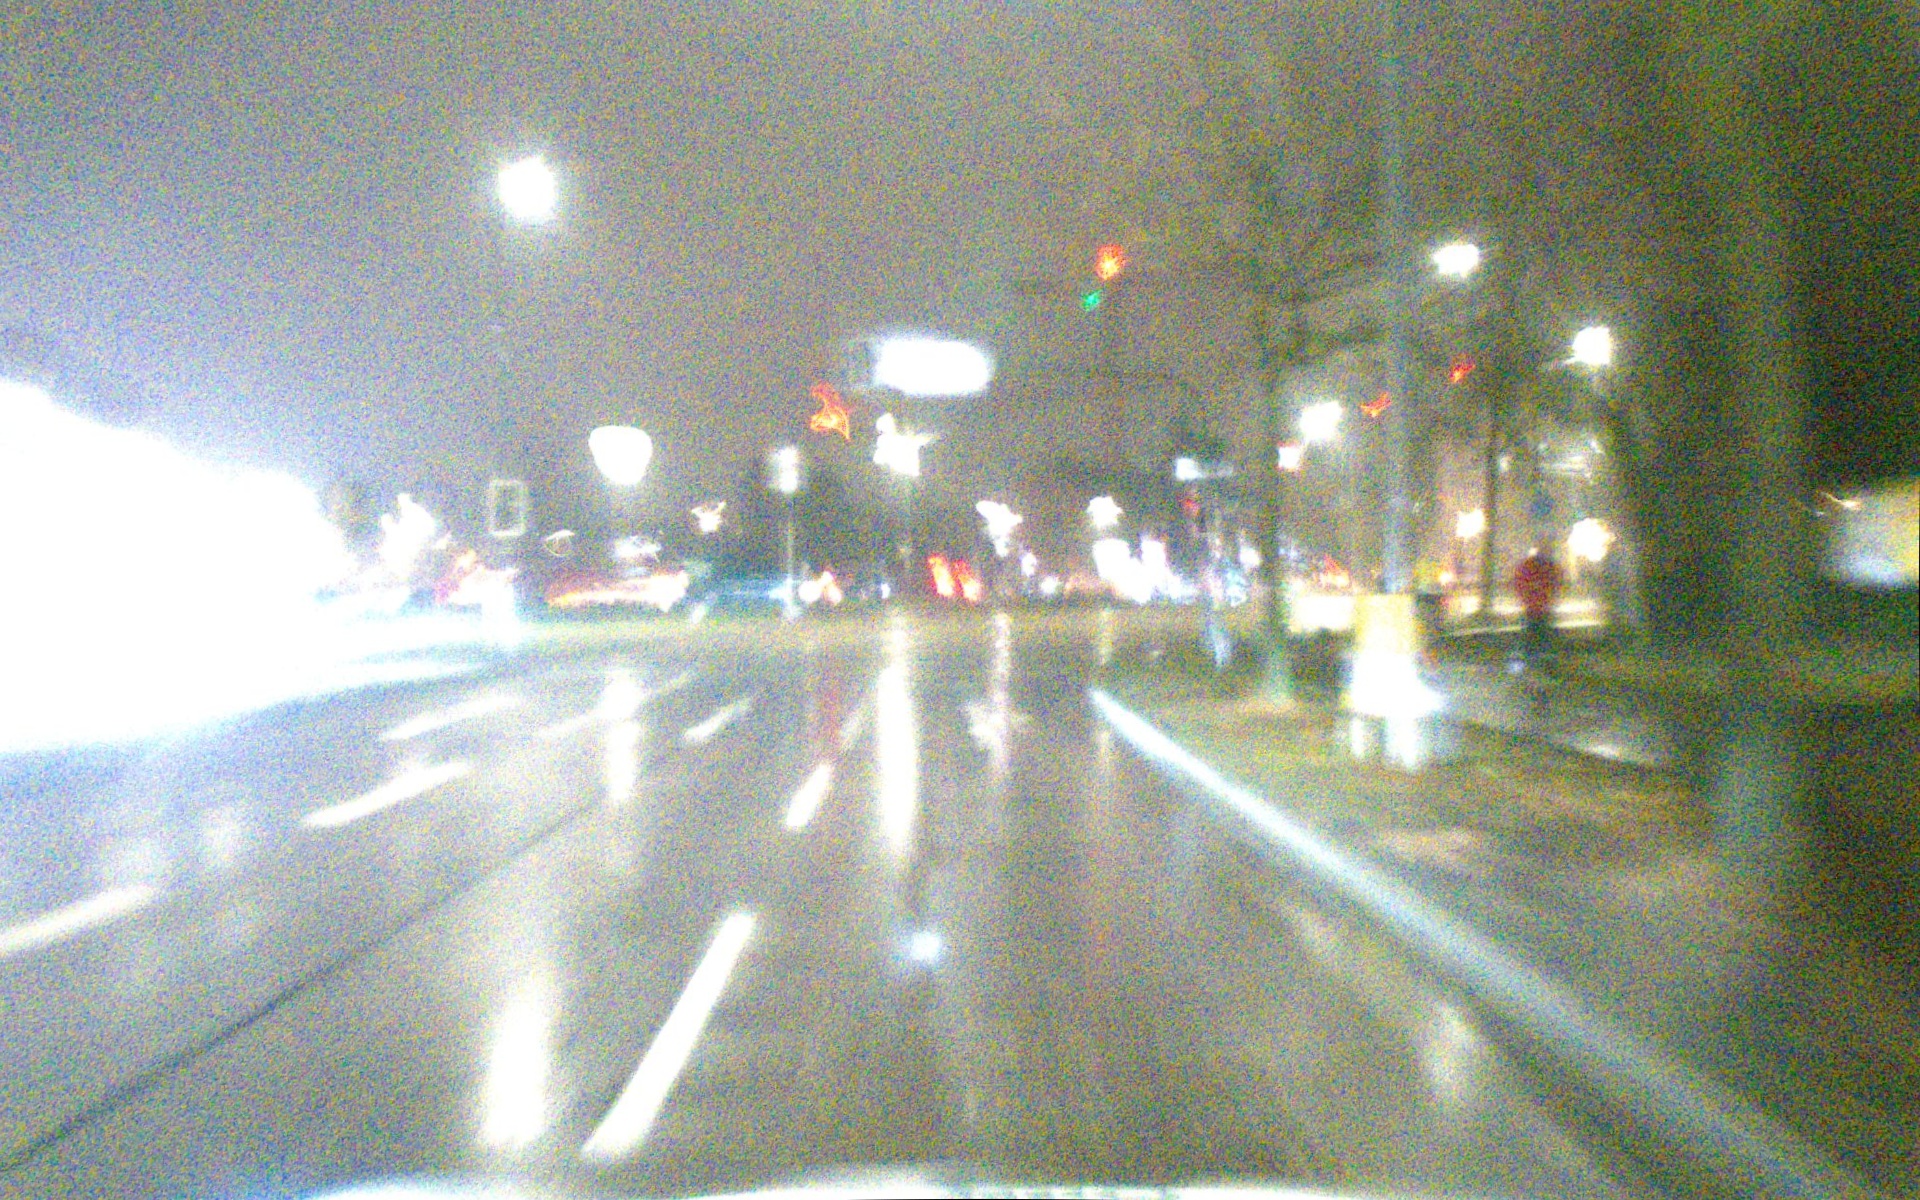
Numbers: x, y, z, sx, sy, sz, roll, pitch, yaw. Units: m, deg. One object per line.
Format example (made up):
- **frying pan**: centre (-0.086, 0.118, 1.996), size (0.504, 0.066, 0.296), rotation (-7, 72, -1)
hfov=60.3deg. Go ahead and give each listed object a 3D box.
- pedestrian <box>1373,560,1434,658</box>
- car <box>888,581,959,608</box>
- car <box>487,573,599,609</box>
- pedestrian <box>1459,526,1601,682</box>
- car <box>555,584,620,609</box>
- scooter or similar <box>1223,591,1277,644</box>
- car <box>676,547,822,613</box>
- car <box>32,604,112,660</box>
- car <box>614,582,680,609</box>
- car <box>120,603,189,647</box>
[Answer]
- **pedestrian**: centre (6.887, 0.134, 25.712), size (0.711, 1.511, 0.836), rotation (0, 0, -1)
- **car**: centre (-2.224, -0.347, 99.841), size (3.908, 1.644, 1.835), rotation (0, 1, 25)
- **car**: centre (-25.103, -0.569, 99.508), size (6.215, 2.125, 2.495), rotation (0, 1, -26)
- **pedestrian**: centre (6.899, 0.040, 20.108), size (1.202, 1.825, 1.490), rotation (0, 0, -1)
- **car**: centre (-23.589, -0.232, 104.778), size (3.913, 1.512, 1.765), rotation (0, 0, -9)
- **scooter or similar**: centre (6.224, 0.374, 35.483), size (1.079, 1.117, 0.317), rotation (-2, -1, 27)
- **car**: centre (-6.602, -0.628, 52.189), size (4.453, 2.049, 1.998), rotation (0, 0, -5)
- **car**: centre (-29.867, 1.036, 55.740), size (2.037, 1.745, 5.002), rotation (0, 1, -24)
- **car**: centre (-19.206, -0.283, 101.576), size (3.912, 1.644, 1.834), rotation (0, 0, -8)
- **car**: centre (-35.087, 1.057, 72.163), size (2.025, 1.762, 5.105), rotation (0, 1, -18)
